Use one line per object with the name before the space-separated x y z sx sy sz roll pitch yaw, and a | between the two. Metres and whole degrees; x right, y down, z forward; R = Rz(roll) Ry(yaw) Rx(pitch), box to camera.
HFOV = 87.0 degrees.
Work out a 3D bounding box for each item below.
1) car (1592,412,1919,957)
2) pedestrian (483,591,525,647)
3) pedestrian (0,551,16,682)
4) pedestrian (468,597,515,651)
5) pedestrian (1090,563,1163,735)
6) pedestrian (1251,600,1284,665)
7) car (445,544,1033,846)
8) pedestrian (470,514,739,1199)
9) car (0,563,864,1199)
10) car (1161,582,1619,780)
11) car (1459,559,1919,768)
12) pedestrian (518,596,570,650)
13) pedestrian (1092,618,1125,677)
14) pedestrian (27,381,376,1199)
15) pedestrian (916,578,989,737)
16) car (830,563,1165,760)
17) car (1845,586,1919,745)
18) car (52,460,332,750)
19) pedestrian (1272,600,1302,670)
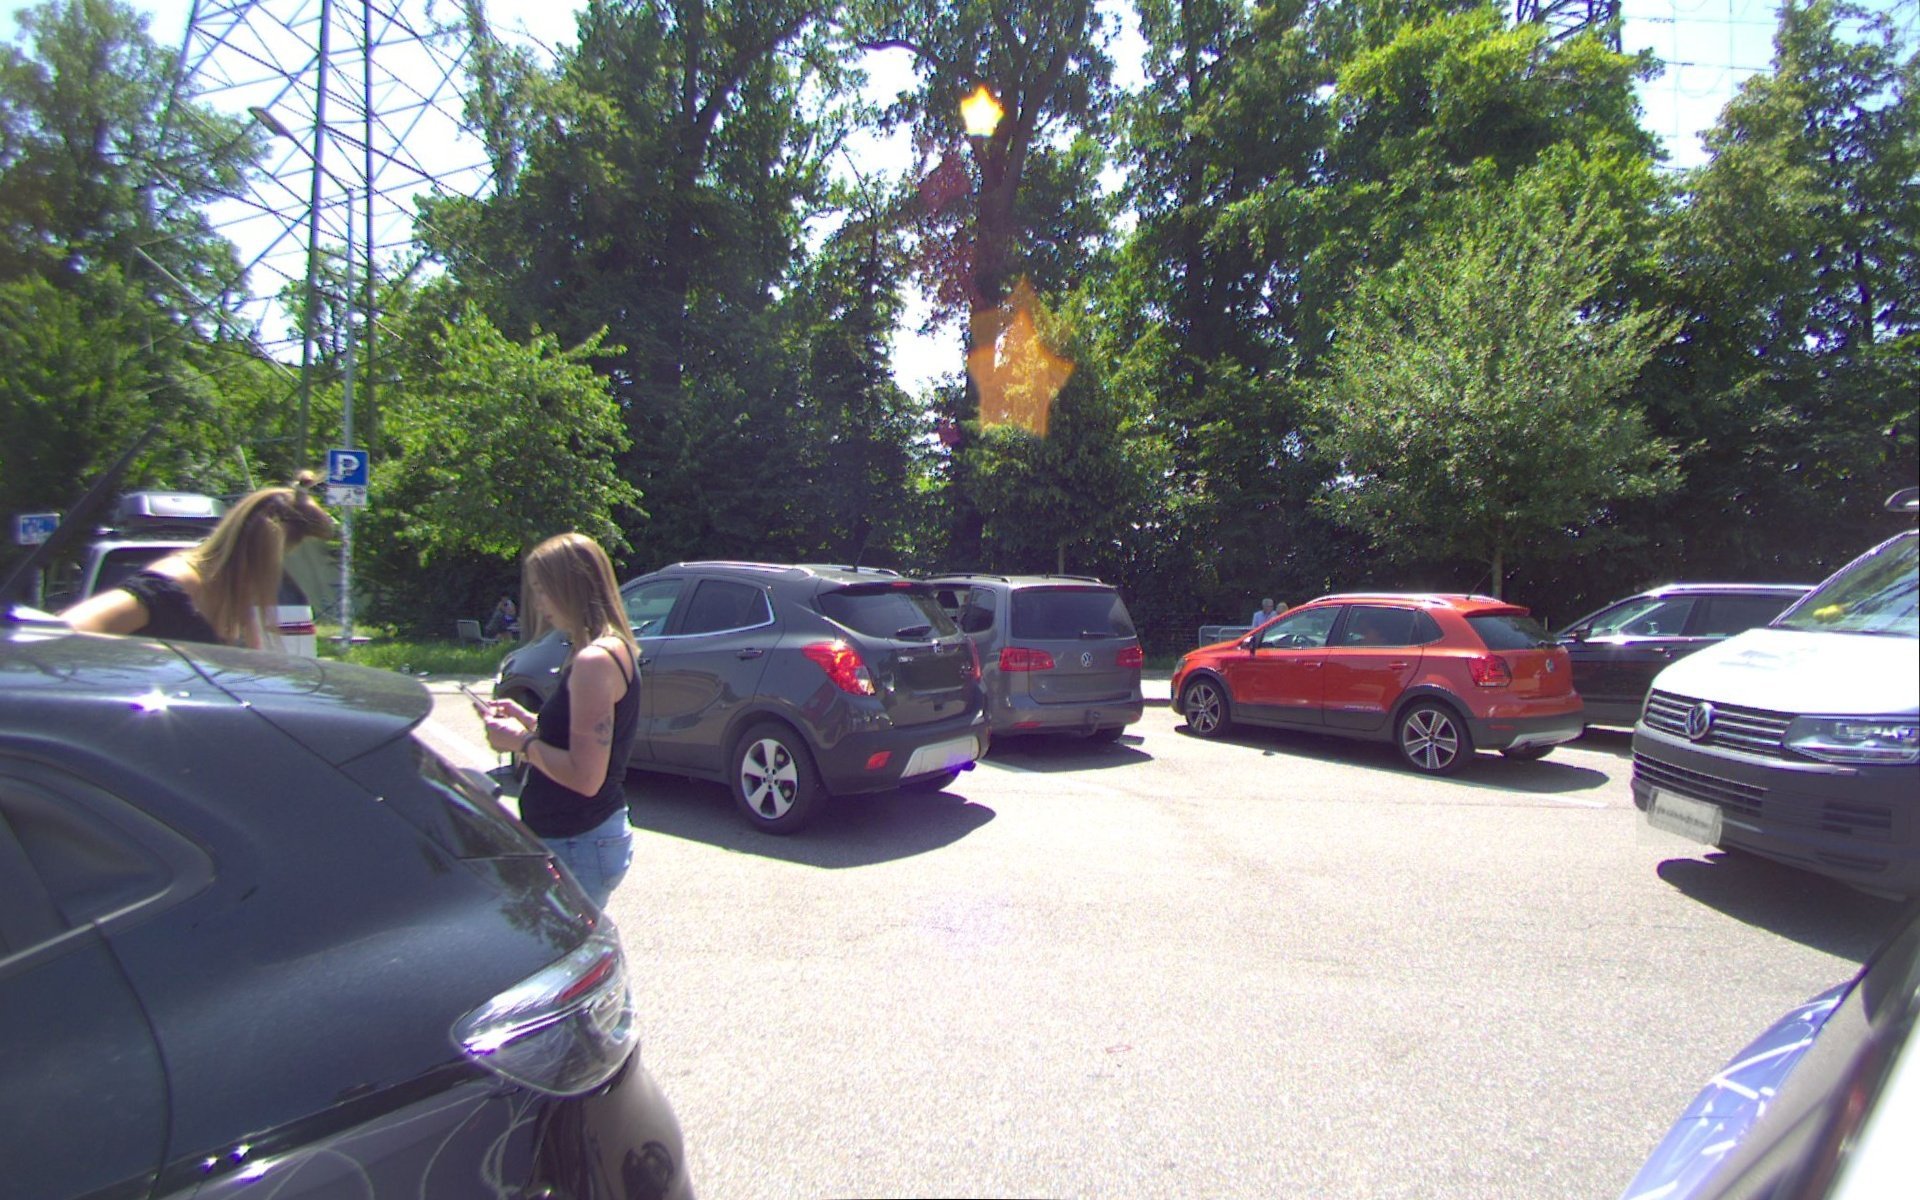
car | 6.249 0.350 4.684 5.336 2.131 1.842 1 1 4
pedestrian | -11.036 0.454 24.485 0.539 1.318 0.758 0 0 37
pedestrian | -14.419 0.243 14.635 0.826 1.903 0.775 0 0 6
pedestrian | -10.510 0.532 22.688 0.785 1.178 0.696 0 0 39
pedestrian | 1.731 0.491 10.560 0.576 1.744 0.483 0 0 -20
pedestrian | 5.777 0.598 19.011 0.433 1.207 0.414 0 0 -30
car | -1.715 0.501 7.400 4.136 1.637 1.817 1 0 33
pedestrian | -0.921 0.614 2.620 0.477 1.614 0.502 1 -1 -44
car | -2.028 0.715 0.815 1.776 1.476 3.627 0 0 44
car | 3.841 0.611 9.616 1.588 1.485 3.751 1 0 -34
car | 7.123 0.495 9.706 1.679 1.637 3.863 1 0 -40
pedestrian | -9.674 0.519 23.532 0.810 1.201 0.836 0 0 40
pedestrian | 2.326 0.730 15.797 0.494 0.890 0.512 1 -1 10
pedestrian | -1.808 0.504 2.529 0.477 1.883 0.914 1 -1 -24
pedestrian | -0.074 0.547 10.042 0.511 1.516 0.560 0 0 -30
car | 0.178 0.499 10.555 1.670 1.637 3.912 0 0 -30
car | 10.418 0.630 8.836 1.813 1.473 3.776 1 0 -36
car | -8.394 0.033 10.850 1.897 2.400 4.963 1 -1 -43
pedestrian | 5.762 0.608 17.846 0.348 1.207 0.367 0 0 -20
